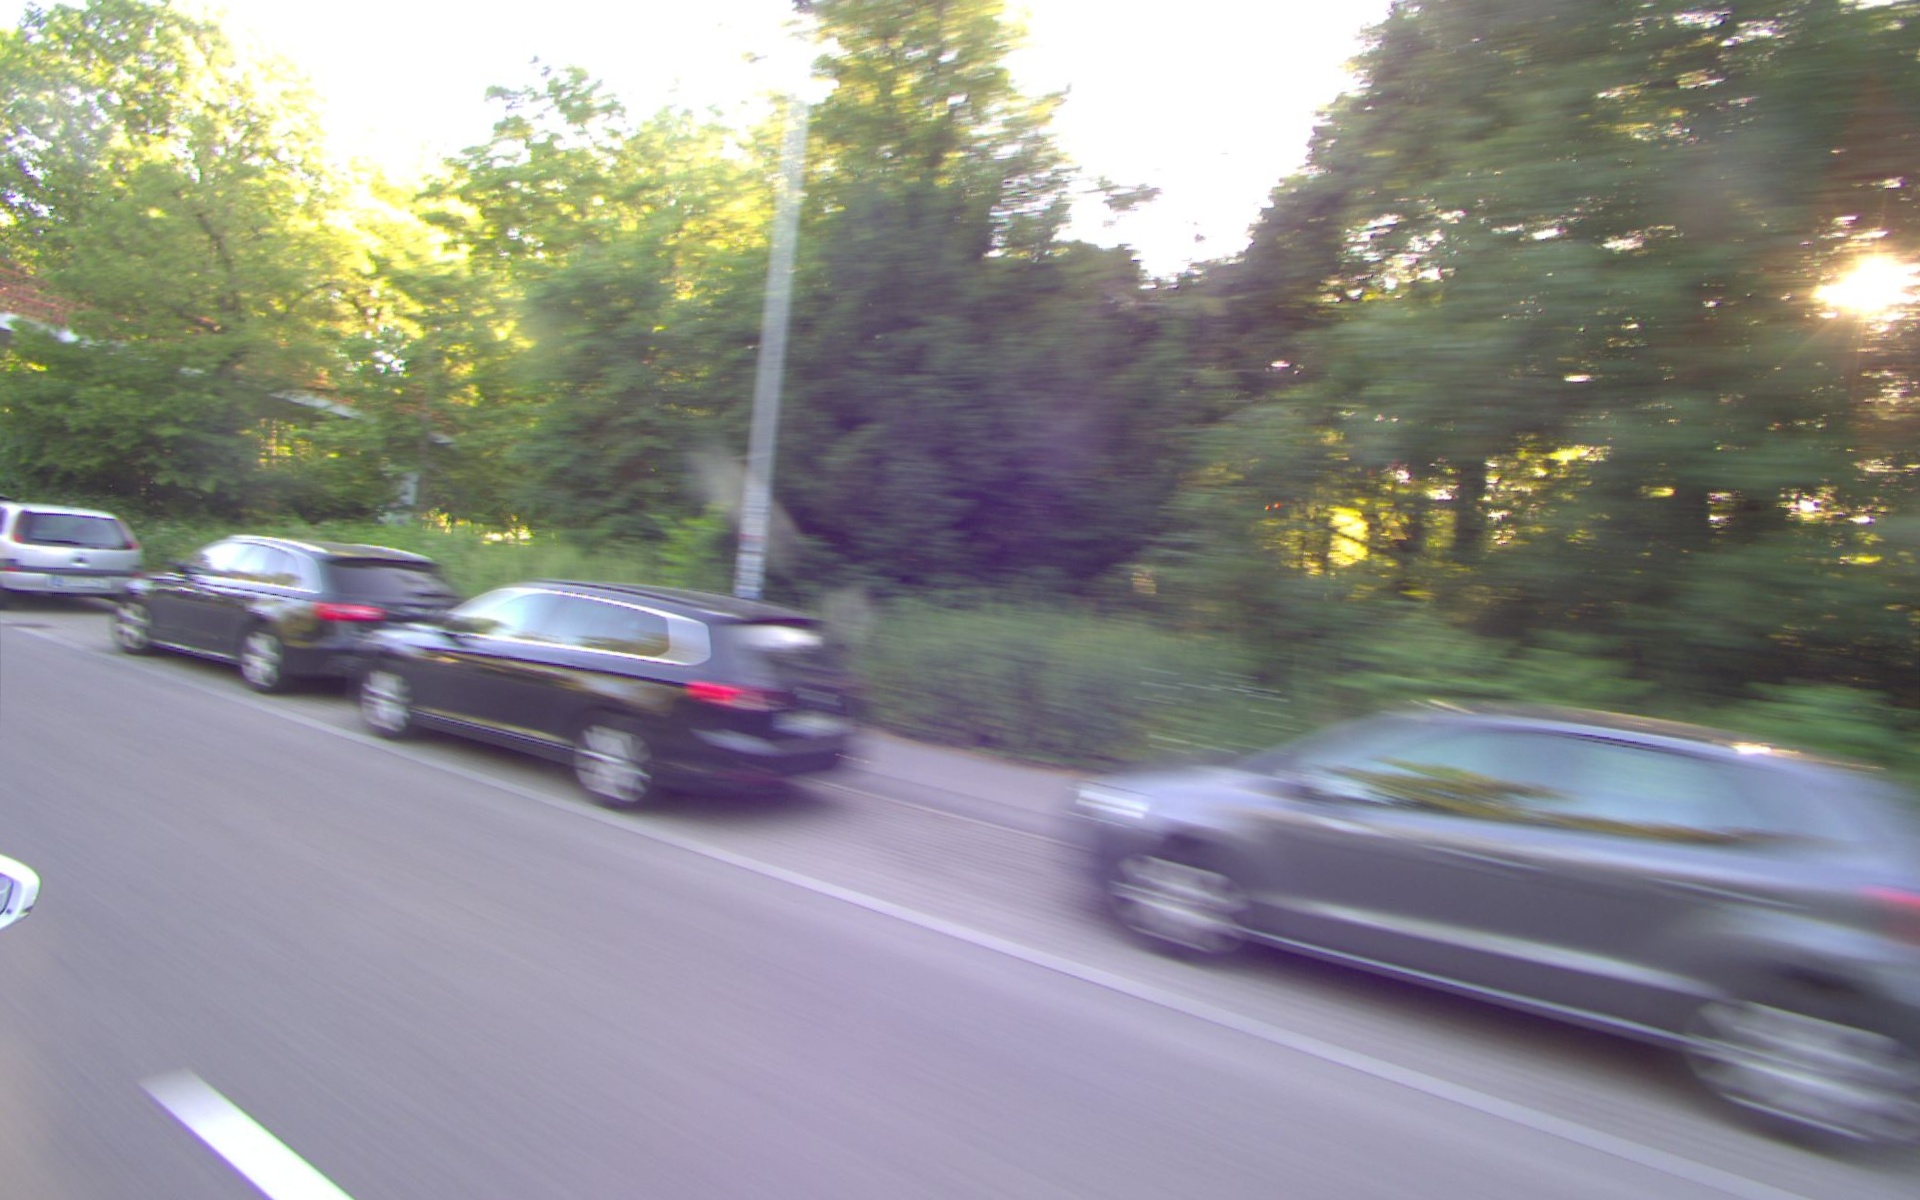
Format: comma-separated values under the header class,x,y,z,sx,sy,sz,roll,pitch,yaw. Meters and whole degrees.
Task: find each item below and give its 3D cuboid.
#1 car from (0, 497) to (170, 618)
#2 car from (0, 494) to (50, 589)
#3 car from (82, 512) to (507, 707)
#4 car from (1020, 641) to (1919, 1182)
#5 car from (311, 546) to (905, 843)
class,x,y,z,sx,sy,sz,roll,pitch,yaw
car,-13.552,-0.701,14.900,3.950,1.472,1.774,6,1,35
car,-17.331,-1.163,16.988,4.316,1.472,1.775,6,1,32
car,-7.314,0.024,10.893,4.953,1.472,1.776,6,1,30
car,2.437,1.173,5.016,3.878,1.472,1.586,6,1,32
car,-2.953,0.550,7.988,4.815,1.472,1.639,6,1,30
